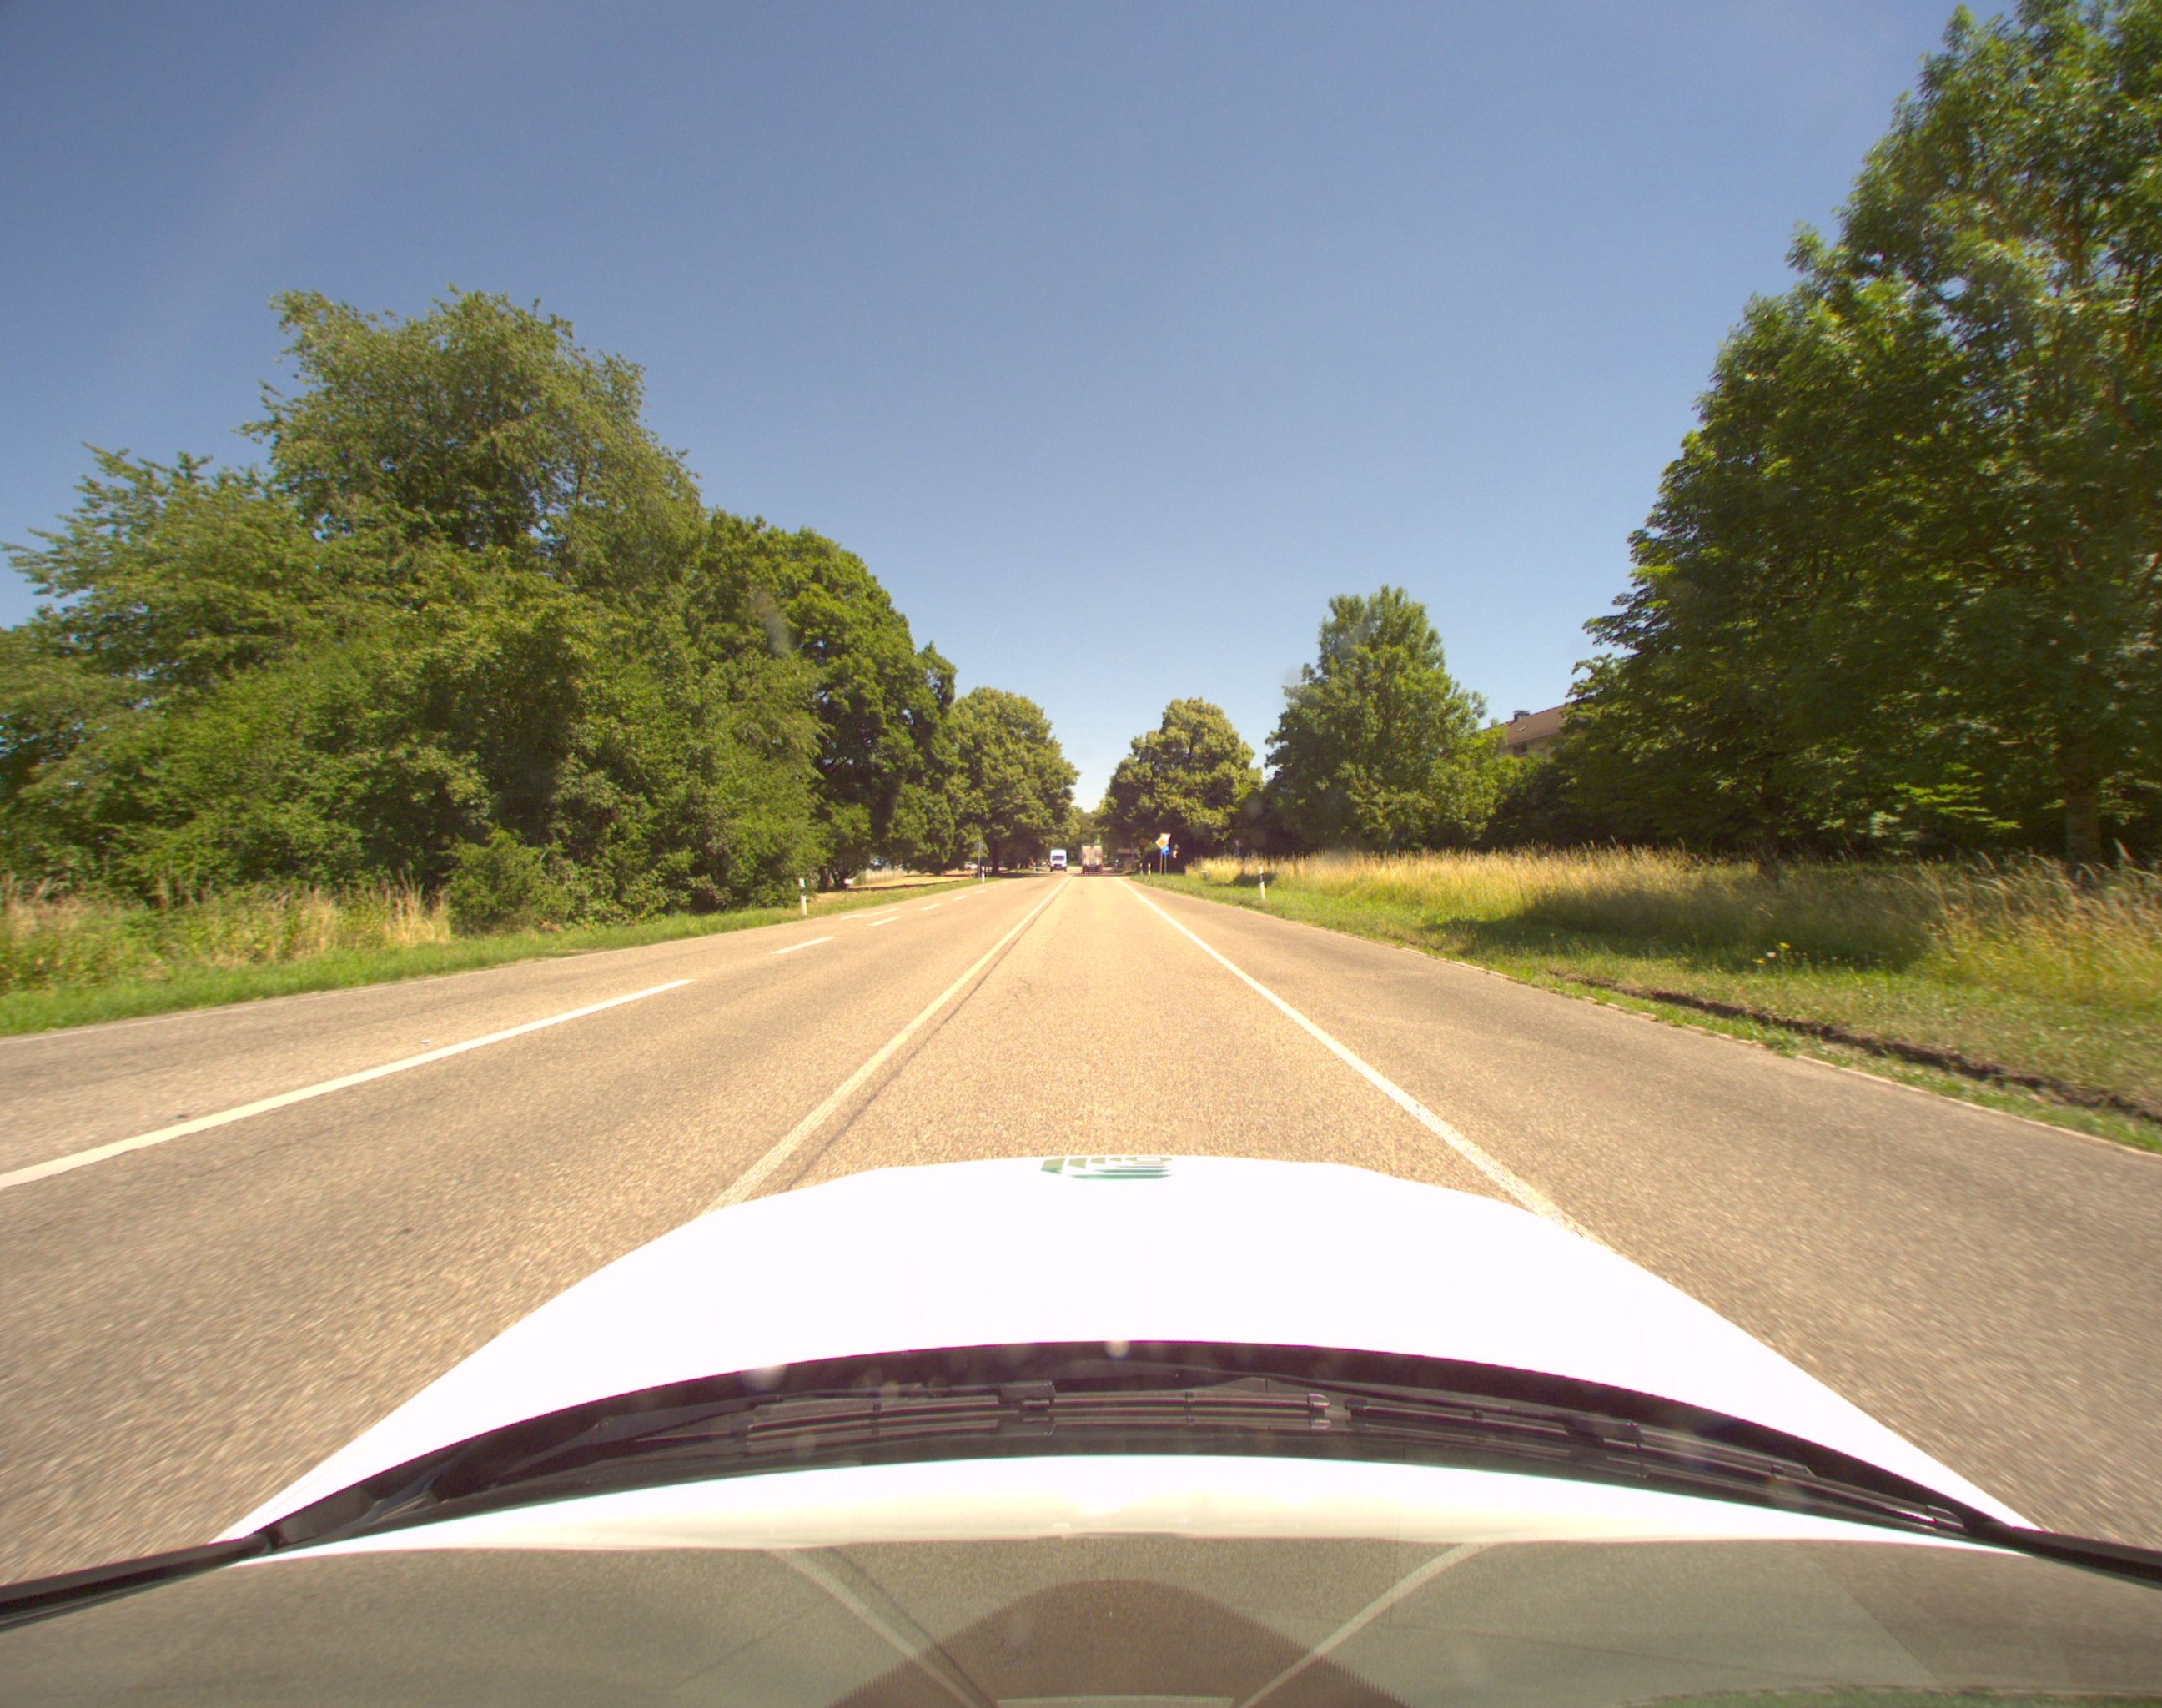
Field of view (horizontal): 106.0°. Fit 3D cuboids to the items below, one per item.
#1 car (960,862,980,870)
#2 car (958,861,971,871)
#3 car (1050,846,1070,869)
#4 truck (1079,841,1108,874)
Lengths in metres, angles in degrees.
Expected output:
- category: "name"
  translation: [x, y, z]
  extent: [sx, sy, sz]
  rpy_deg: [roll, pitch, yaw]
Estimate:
- category: "car"
  translation: [-19.486, 2.109, 143.038]
  extent: [3.389, 1.362, 1.343]
  rpy_deg: [-2, -1, 31]
- category: "car"
  translation: [-19.607, 2.052, 137.087]
  extent: [1.739, 1.585, 3.980]
  rpy_deg: [-1, -1, -14]
- category: "car"
  translation: [-2.609, 0.459, 101.388]
  extent: [2.065, 2.627, 6.786]
  rpy_deg: [-1, -1, 2]
- category: "truck"
  translation: [1.281, 0.291, 81.103]
  extent: [2.522, 3.135, 5.368]
  rpy_deg: [-1, 0, 5]
